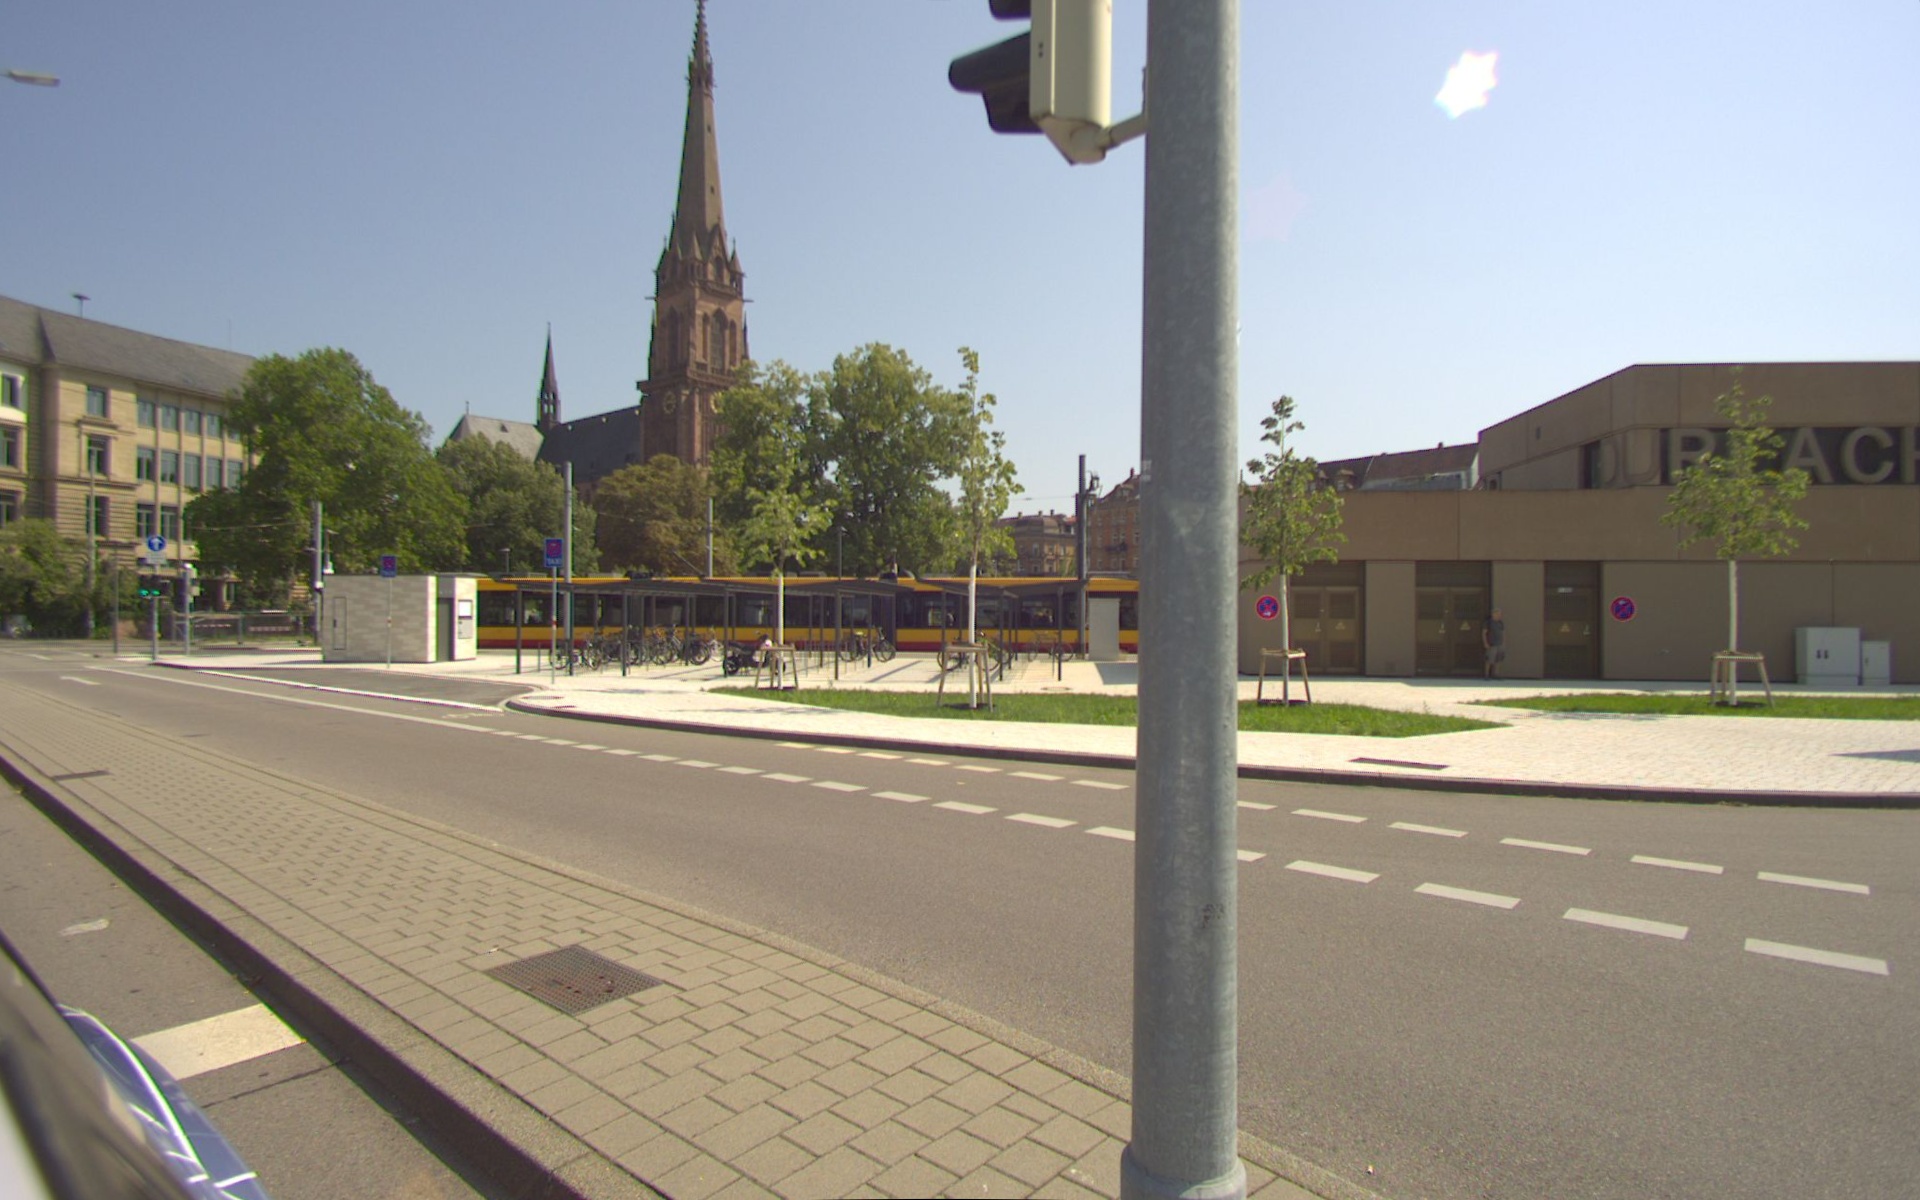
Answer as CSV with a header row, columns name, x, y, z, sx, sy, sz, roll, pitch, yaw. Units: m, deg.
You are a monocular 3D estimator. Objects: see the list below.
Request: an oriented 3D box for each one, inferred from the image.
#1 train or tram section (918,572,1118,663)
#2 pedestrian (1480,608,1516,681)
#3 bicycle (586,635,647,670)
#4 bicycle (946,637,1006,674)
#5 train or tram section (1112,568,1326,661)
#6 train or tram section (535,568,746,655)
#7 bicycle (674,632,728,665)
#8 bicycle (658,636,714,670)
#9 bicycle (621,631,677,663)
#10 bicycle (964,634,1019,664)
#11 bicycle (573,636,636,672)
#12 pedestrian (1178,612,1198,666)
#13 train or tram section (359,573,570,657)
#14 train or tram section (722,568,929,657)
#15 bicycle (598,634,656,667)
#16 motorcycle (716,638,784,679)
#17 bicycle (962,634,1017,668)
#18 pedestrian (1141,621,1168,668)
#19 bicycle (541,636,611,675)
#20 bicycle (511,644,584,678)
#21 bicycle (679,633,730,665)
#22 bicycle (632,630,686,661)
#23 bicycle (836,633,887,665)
name,x,y,z,sx,sy,sz,roll,pitch,yaw
train or tram section,2.471,0.789,43.018,8.145,3.625,3.155,-1,-2,7
pedestrian,12.584,1.040,23.684,0.529,1.691,0.568,0,-1,5
bicycle,-10.526,1.605,31.017,1.750,1.048,0.525,0,-2,9
bicycle,0.444,1.578,28.942,1.710,1.048,0.513,0,-2,0
train or tram section,10.544,0.662,42.102,8.143,3.597,3.139,-1,-2,6
train or tram section,-14.090,0.585,44.962,8.422,3.625,3.155,-1,-2,7
bicycle,-8.260,1.547,32.286,1.622,1.048,0.412,0,-2,9
bicycle,-8.448,1.627,31.222,1.622,1.048,0.412,0,-2,9
bicycle,-10.457,1.573,34.012,1.750,1.048,0.525,0,-2,9
bicycle,1.075,1.638,34.002,1.833,0.993,0.512,0,-2,5
bicycle,-10.654,1.606,30.325,1.750,1.048,0.525,0,-2,9
pedestrian,7.253,1.236,32.184,0.562,1.691,0.443,0,-1,6
train or tram section,-22.361,0.736,45.912,8.226,3.588,3.132,-1,-2,6
train or tram section,-5.735,0.616,43.980,8.422,3.625,3.155,-1,-2,7
bicycle,-10.756,1.621,32.703,1.750,1.048,0.525,0,-2,9
motorcycle,-5.641,1.578,27.210,1.759,1.077,0.490,0,-2,9
bicycle,0.941,1.616,32.301,1.708,1.048,0.514,0,-2,-6
pedestrian,5.918,1.349,30.777,0.667,1.421,0.438,-1,-2,40
bicycle,-10.962,1.566,28.904,1.844,1.090,0.525,0,-2,9
bicycle,-11.279,1.658,27.672,1.877,0.890,0.490,0,-2,9
bicycle,-8.518,1.634,33.706,1.622,1.048,0.412,0,-2,9
bicycle,-10.445,1.577,35.172,1.750,1.048,0.525,0,-2,9
bicycle,-3.224,1.601,33.064,1.622,1.048,0.412,0,-2,9
